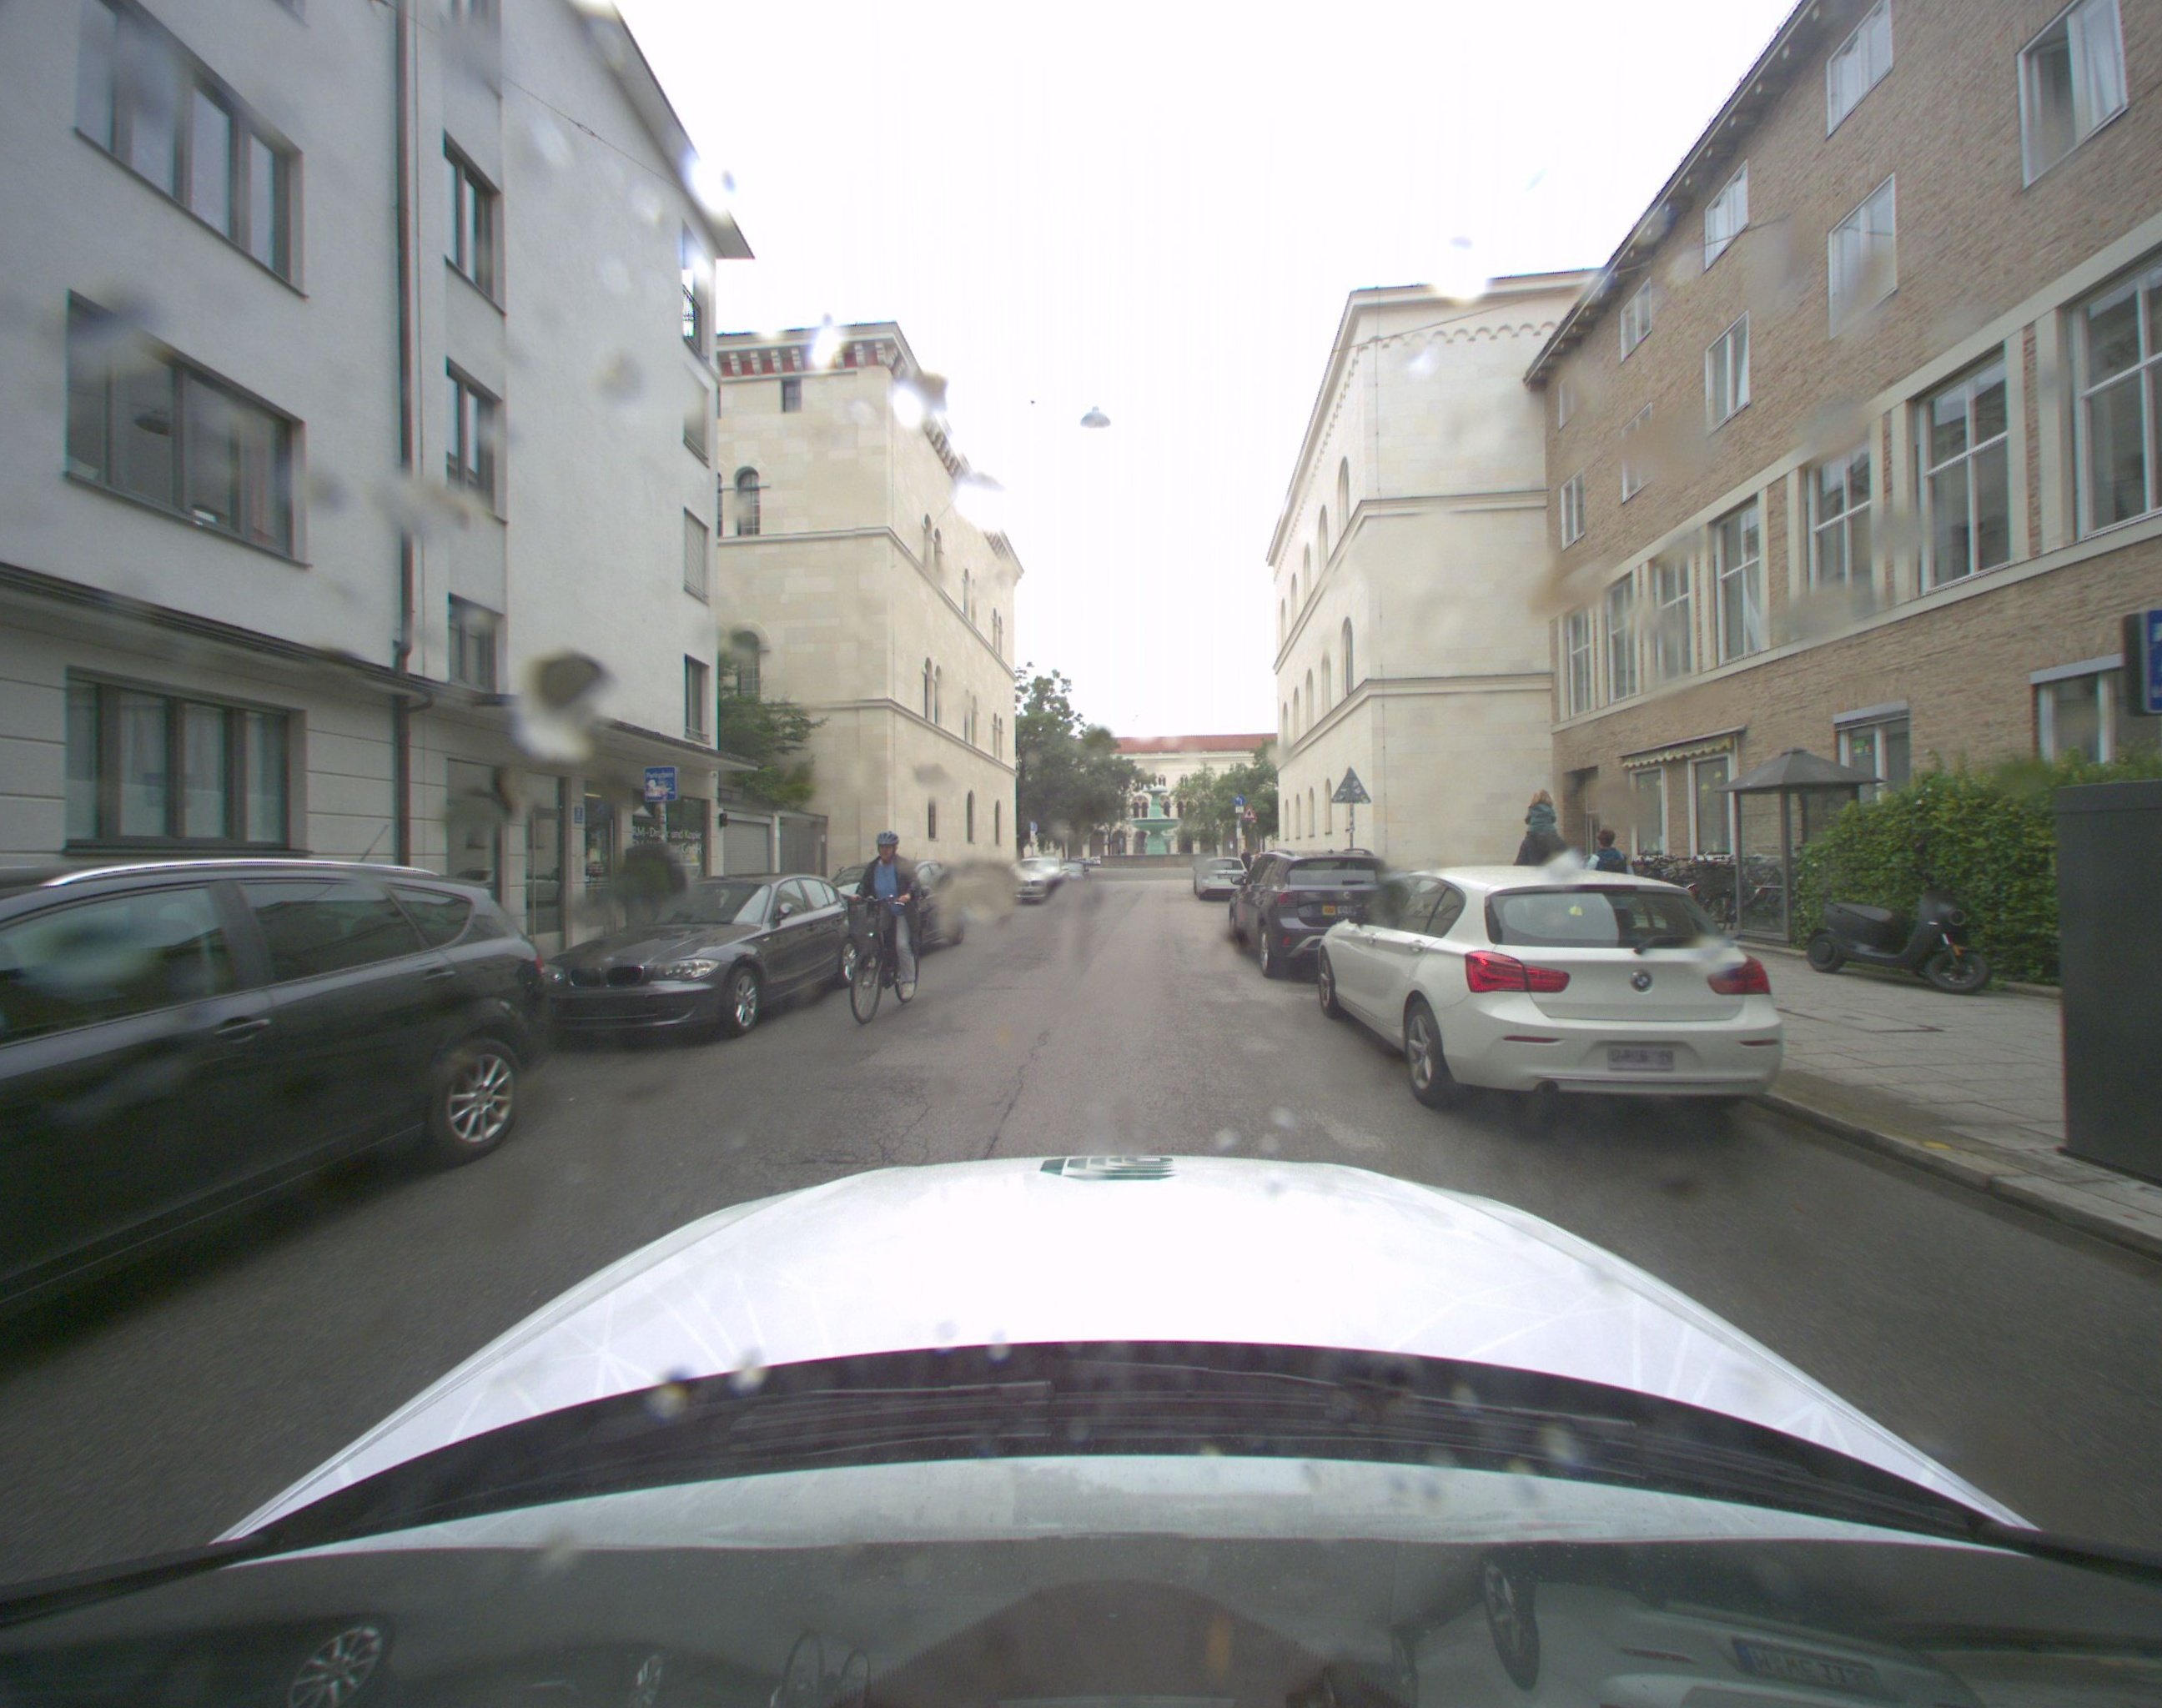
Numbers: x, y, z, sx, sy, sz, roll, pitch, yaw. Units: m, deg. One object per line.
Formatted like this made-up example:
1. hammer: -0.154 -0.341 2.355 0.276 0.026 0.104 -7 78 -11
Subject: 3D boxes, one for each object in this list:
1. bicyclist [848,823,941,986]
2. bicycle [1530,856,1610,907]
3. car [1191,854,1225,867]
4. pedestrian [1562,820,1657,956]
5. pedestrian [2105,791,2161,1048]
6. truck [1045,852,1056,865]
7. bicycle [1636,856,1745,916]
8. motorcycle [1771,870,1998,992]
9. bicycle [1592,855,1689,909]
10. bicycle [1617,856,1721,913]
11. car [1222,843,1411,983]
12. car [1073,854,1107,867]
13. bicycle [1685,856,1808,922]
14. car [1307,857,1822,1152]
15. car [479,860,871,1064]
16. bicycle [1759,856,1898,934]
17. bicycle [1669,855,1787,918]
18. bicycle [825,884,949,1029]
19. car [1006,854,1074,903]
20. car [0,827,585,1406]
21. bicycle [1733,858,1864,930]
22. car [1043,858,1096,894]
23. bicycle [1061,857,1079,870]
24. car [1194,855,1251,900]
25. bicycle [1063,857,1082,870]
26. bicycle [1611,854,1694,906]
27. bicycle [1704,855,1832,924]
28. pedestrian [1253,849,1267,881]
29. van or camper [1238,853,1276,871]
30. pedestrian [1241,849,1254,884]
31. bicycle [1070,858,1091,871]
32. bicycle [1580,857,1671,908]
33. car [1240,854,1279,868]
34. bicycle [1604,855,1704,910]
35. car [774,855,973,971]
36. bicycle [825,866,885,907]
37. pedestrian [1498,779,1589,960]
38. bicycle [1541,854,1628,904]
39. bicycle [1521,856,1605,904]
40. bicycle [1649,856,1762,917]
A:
1. bicyclist: -1.869 0.491 8.267 0.654 1.551 0.888 -1 -1 3
2. bicycle: 10.459 0.581 17.441 1.422 1.042 0.349 -2 0 4
3. car: 14.944 0.787 95.960 3.964 1.403 1.829 -2 0 8
4. pedestrian: 6.842 0.420 10.581 0.851 1.693 0.755 -1 1 17
5. pedestrian: 7.134 0.416 5.013 0.584 1.632 0.878 0 0 6
6. truck: -5.723 0.807 152.993 1.990 2.489 3.993 0 0 -5
7. bicycle: 11.329 0.589 15.165 1.620 1.042 0.349 -2 0 8
8. motorcycle: 8.108 0.720 8.353 0.486 1.053 1.925 0 0 2
9. bicycle: 11.434 0.575 16.667 1.620 1.042 0.349 -2 0 8
10. bicycle: 11.308 0.588 15.692 1.620 1.042 0.349 -2 0 8
11. car: 3.035 0.682 11.314 1.739 1.593 3.960 0 0 4
12. car: 1.099 0.781 97.290 3.968 1.376 2.003 -1 0 4
13. bicycle: 11.173 0.578 13.695 1.620 1.042 0.349 -2 0 8
14. car: 2.971 0.753 6.149 1.666 1.417 4.206 0 0 4
15. car: -3.710 0.870 8.392 1.743 1.453 4.020 -2 1 4
16. bicycle: 10.719 0.581 11.701 1.624 1.042 0.348 -2 0 1
17. bicycle: 11.292 0.567 14.238 1.620 1.042 0.349 -2 0 8
18. bicycle: -1.870 0.941 8.161 0.646 1.197 1.952 -2 0 3
19. car: -1.350 0.819 28.524 1.770 1.535 4.217 -2 -1 5
20. car: -4.048 0.783 2.963 1.866 1.658 4.080 -3 1 1
21. bicycle: 10.977 0.607 12.481 1.623 1.042 0.348 -2 0 2
22. car: -0.436 0.904 34.726 1.690 1.393 4.219 -2 -1 6
23. bicycle: -0.908 0.810 68.852 1.390 1.099 0.659 0 0 17
24. car: 4.916 0.761 28.755 1.780 1.476 4.321 0 0 7
25. bicycle: -0.735 0.816 69.593 1.523 1.019 0.701 0 0 17
26. bicycle: 11.999 0.546 17.110 1.422 1.042 0.349 -2 0 4
27. bicycle: 11.120 0.575 13.213 1.620 1.042 0.349 -2 0 8
28. pedestrian: 9.559 0.575 43.580 0.618 1.681 0.545 0 0 0
29. van or camper: 22.891 1.055 106.178 4.560 2.014 2.002 -4 -1 3
30. pedestrian: 8.848 0.654 43.241 0.637 1.808 0.490 -1 0 11
31. bicycle: -0.029 0.863 67.556 1.606 1.099 0.619 0 0 17
32. bicycle: 11.815 0.612 17.696 1.620 1.042 0.349 -2 0 8
33. car: 20.938 0.820 95.466 4.333 1.524 1.807 -1 0 7
34. bicycle: 11.386 0.566 16.205 1.620 1.042 0.349 -2 0 8
35. car: -3.112 0.819 13.141 1.741 1.453 4.023 -2 1 6
36. bicycle: -6.759 0.983 24.371 1.699 1.178 0.478 -2 0 15
37. pedestrian: 5.855 0.187 10.346 0.788 2.197 0.816 0 0 12
38. bicycle: 11.271 0.557 18.261 1.620 1.042 0.349 -2 0 10
39. bicycle: 11.148 0.599 18.873 1.620 1.042 0.349 -2 0 10
40. bicycle: 11.247 0.580 14.687 1.620 1.042 0.349 -2 0 8
